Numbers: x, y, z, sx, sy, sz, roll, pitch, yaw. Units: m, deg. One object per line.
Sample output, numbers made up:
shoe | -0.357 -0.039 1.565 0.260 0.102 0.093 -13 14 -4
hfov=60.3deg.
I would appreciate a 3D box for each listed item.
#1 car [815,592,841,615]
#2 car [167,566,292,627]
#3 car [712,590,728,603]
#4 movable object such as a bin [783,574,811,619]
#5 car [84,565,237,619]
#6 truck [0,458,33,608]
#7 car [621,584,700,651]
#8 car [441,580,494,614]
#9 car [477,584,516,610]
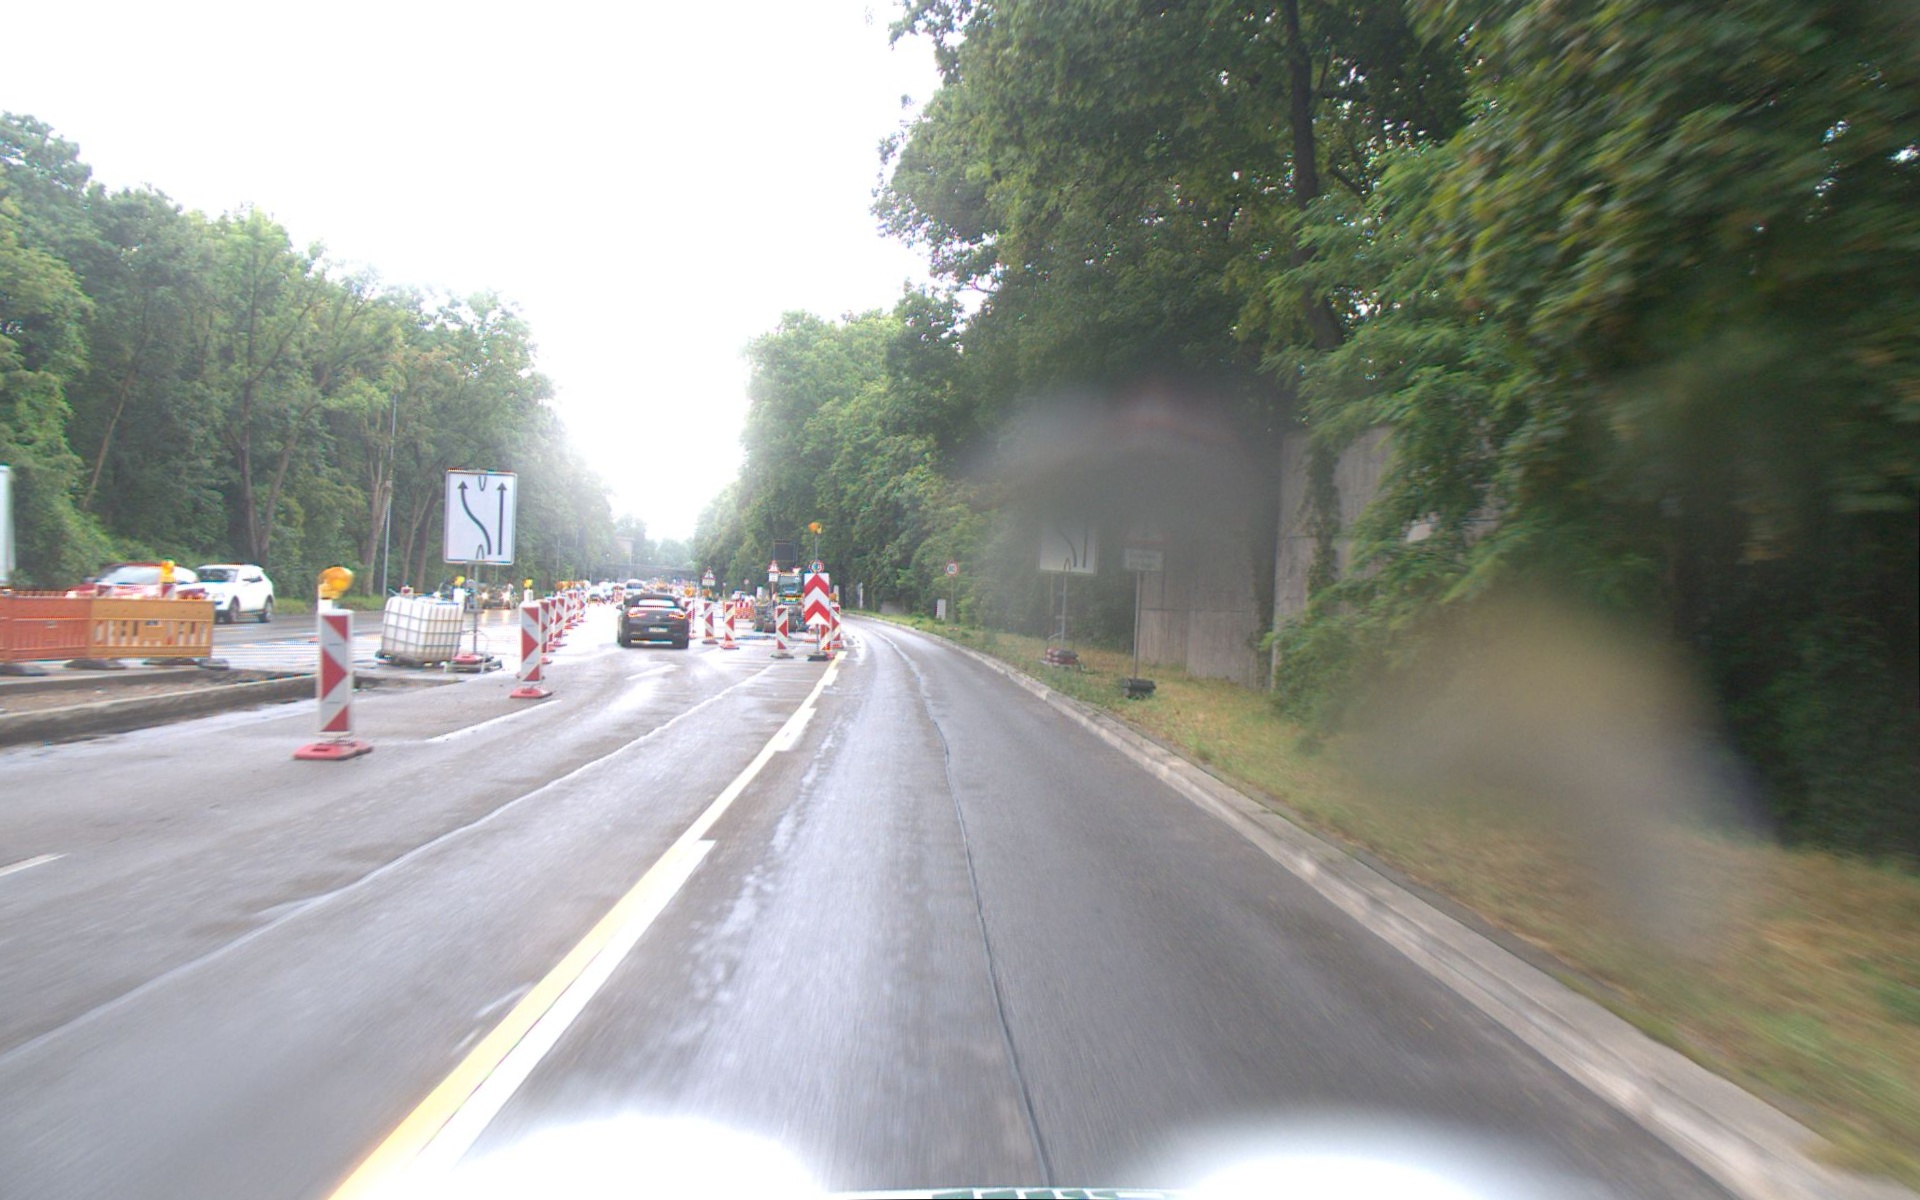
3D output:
car | -10.319 0.256 128.958 1.877 1.625 4.828 3 1 -5
car | -22.588 -0.114 51.322 1.807 1.753 4.718 -1 0 -1
car | -32.903 -0.507 227.138 1.839 1.645 3.996 5 0 -5
movable object such as a bin | -10.884 -0.242 110.211 1.713 2.917 3.529 1 0 -7
car | -18.961 -0.176 39.431 1.573 1.172 4.282 2 0 -1
truck | -21.827 -1.489 31.408 2.739 3.203 10.146 2 0 -1
car | -8.233 0.455 45.781 1.827 1.517 3.995 3 2 -7
car | -24.946 -0.168 83.881 1.603 1.676 4.197 1 0 -3
car | -27.404 -0.172 97.932 1.495 1.483 3.537 0 0 -4
